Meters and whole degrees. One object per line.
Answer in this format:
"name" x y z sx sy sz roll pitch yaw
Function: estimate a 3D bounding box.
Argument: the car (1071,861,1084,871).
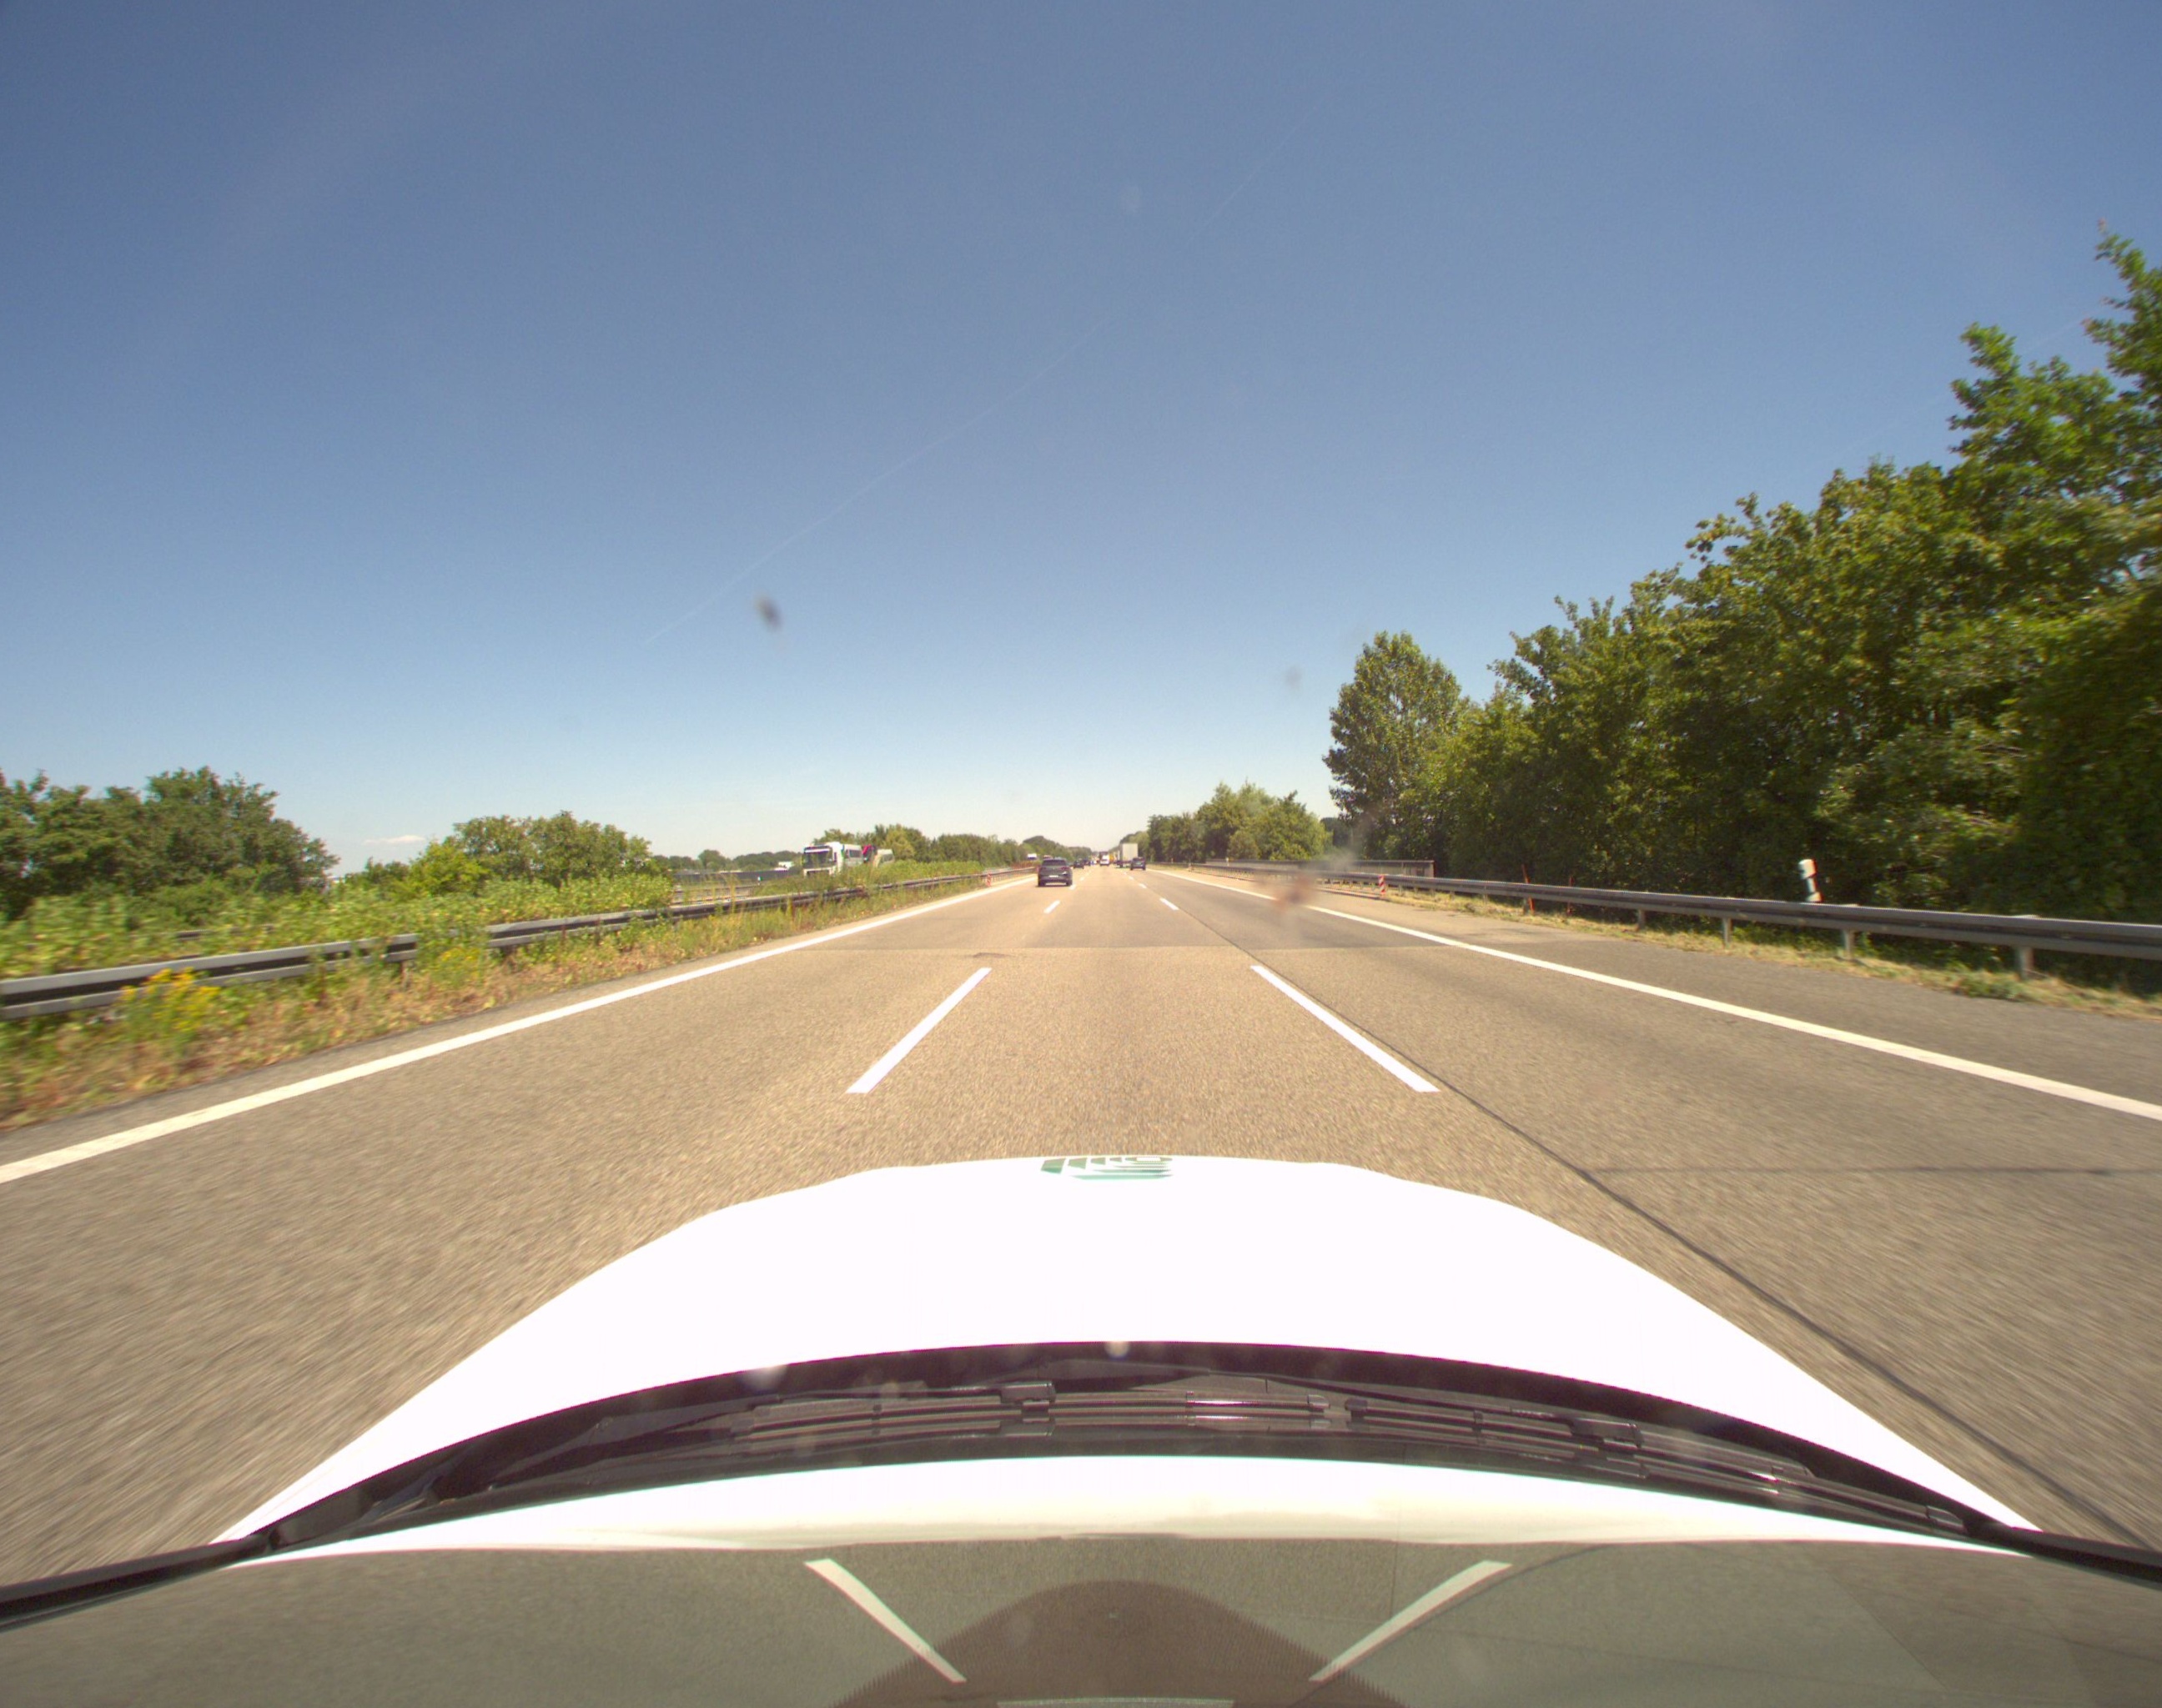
"car" -0.469 1.836 128.655 1.893 1.531 4.085 -1 0 2

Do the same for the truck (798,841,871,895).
"truck" -19.535 1.037 65.190 2.908 3.990 9.621 -1 0 0

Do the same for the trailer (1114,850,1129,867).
"trailer" 9.794 1.132 196.464 3.112 3.926 9.937 -1 0 1

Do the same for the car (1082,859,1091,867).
"car" 1.233 1.995 178.016 1.900 1.531 4.287 -1 0 2

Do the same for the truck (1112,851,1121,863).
"truck" 11.498 0.946 260.983 2.781 3.726 7.113 -1 0 3

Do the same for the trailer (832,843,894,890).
"trailer" -19.489 1.037 73.614 2.916 3.990 9.658 -1 0 0

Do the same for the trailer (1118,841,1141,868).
"trailer" 7.953 0.184 135.101 3.421 4.181 13.637 -1 -1 2

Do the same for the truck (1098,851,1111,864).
"truck" 7.260 0.990 247.710 3.652 3.726 7.113 -1 0 3

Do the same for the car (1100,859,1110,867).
"car" 4.898 1.787 164.354 1.893 1.531 4.085 -1 0 2

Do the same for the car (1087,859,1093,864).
"car" 2.793 2.187 246.526 1.900 1.531 4.287 -1 0 2

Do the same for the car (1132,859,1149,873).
"car" 7.336 1.473 100.996 1.838 1.629 4.136 -2 0 2

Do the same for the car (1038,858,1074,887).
"car" -1.375 0.993 45.682 1.753 1.531 4.287 -1 0 2
